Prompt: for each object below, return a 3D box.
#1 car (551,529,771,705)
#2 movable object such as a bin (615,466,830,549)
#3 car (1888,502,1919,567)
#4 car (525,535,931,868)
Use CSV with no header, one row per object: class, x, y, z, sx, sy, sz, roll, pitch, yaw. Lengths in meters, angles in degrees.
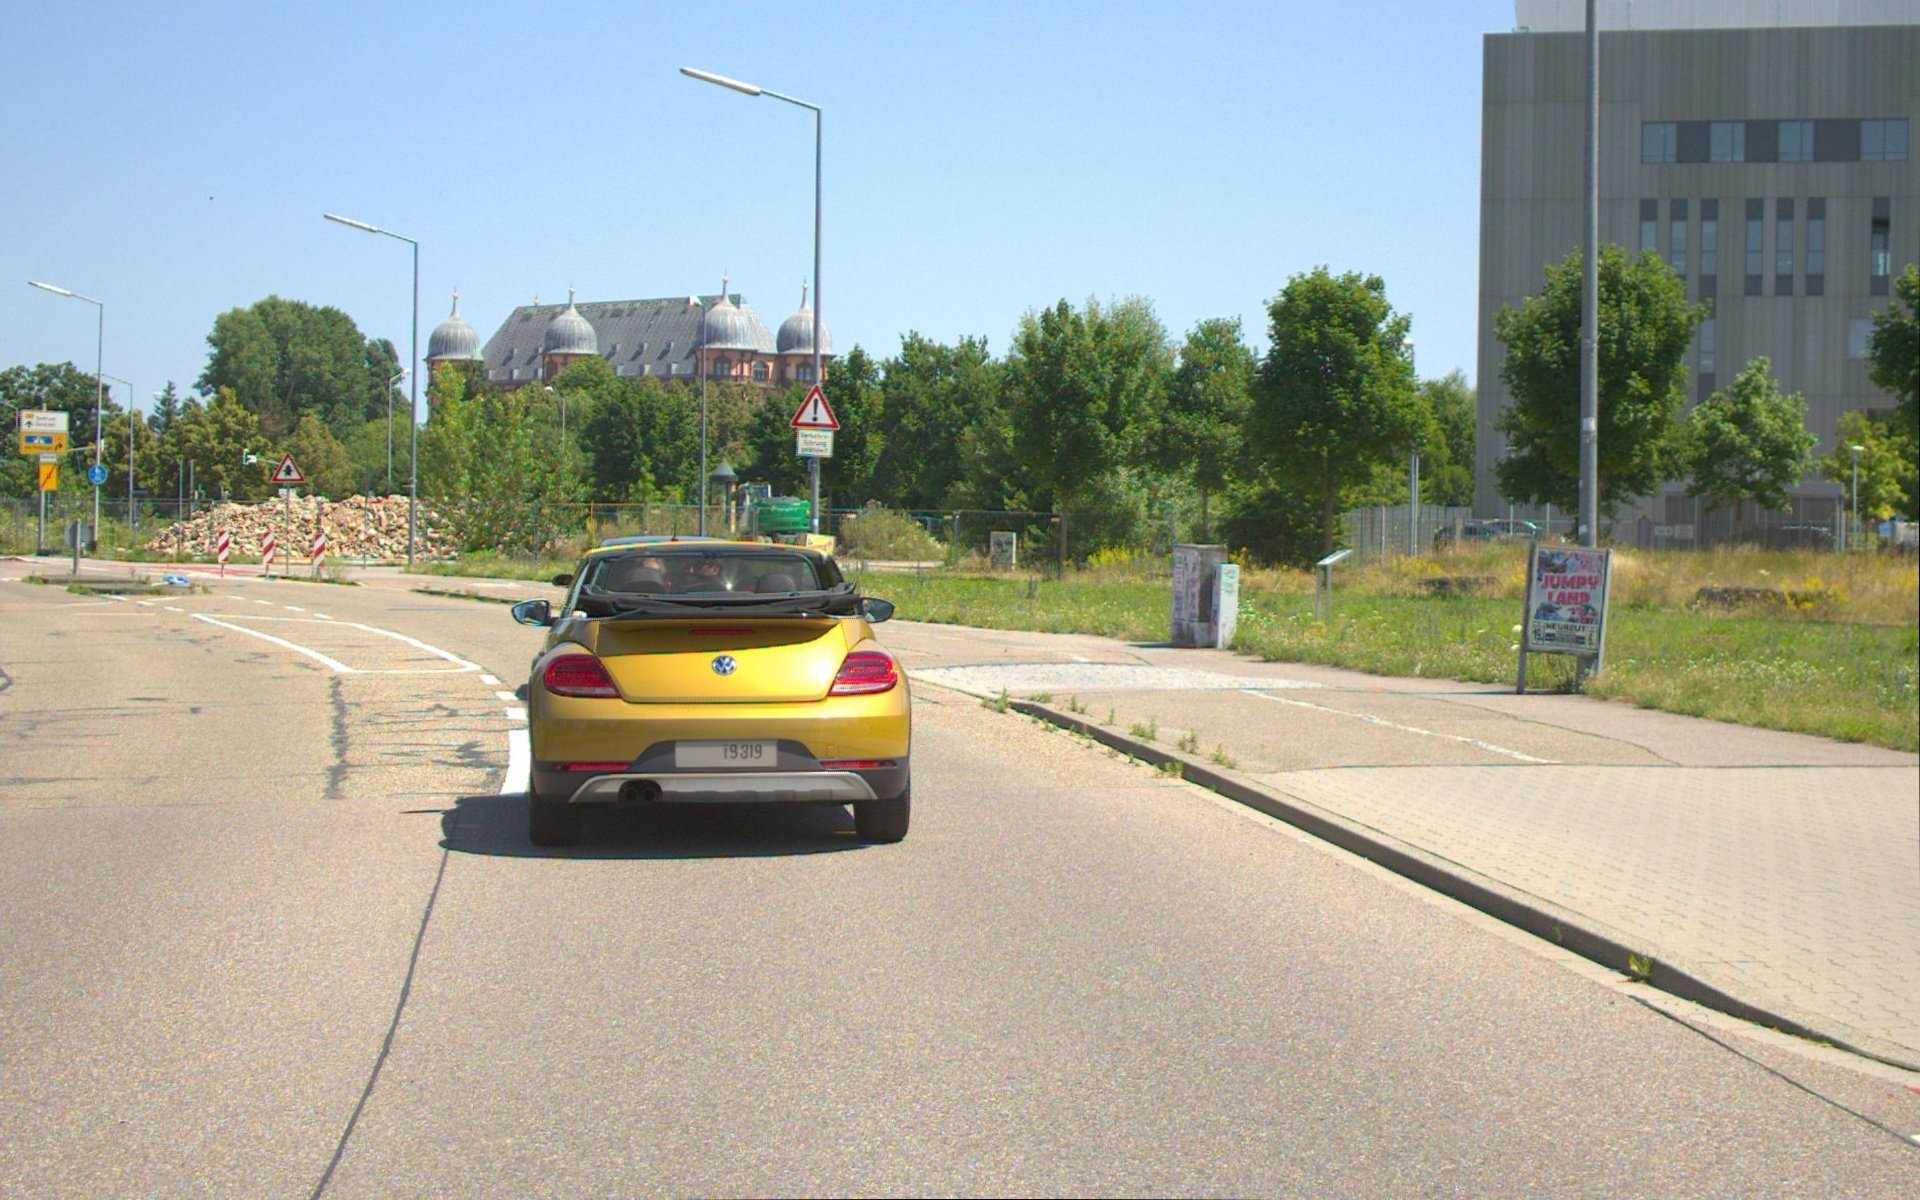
car,-2.731,0.106,30.710,1.726,1.438,4.001,1,1,-8
movable object such as a bin,-9.883,-3.809,141.381,4.938,3.249,10.471,0,1,-28
car,34.992,-2.317,122.137,3.845,2.286,1.741,1,1,16
car,-1.245,0.423,17.254,1.789,1.431,3.815,1,2,-6
